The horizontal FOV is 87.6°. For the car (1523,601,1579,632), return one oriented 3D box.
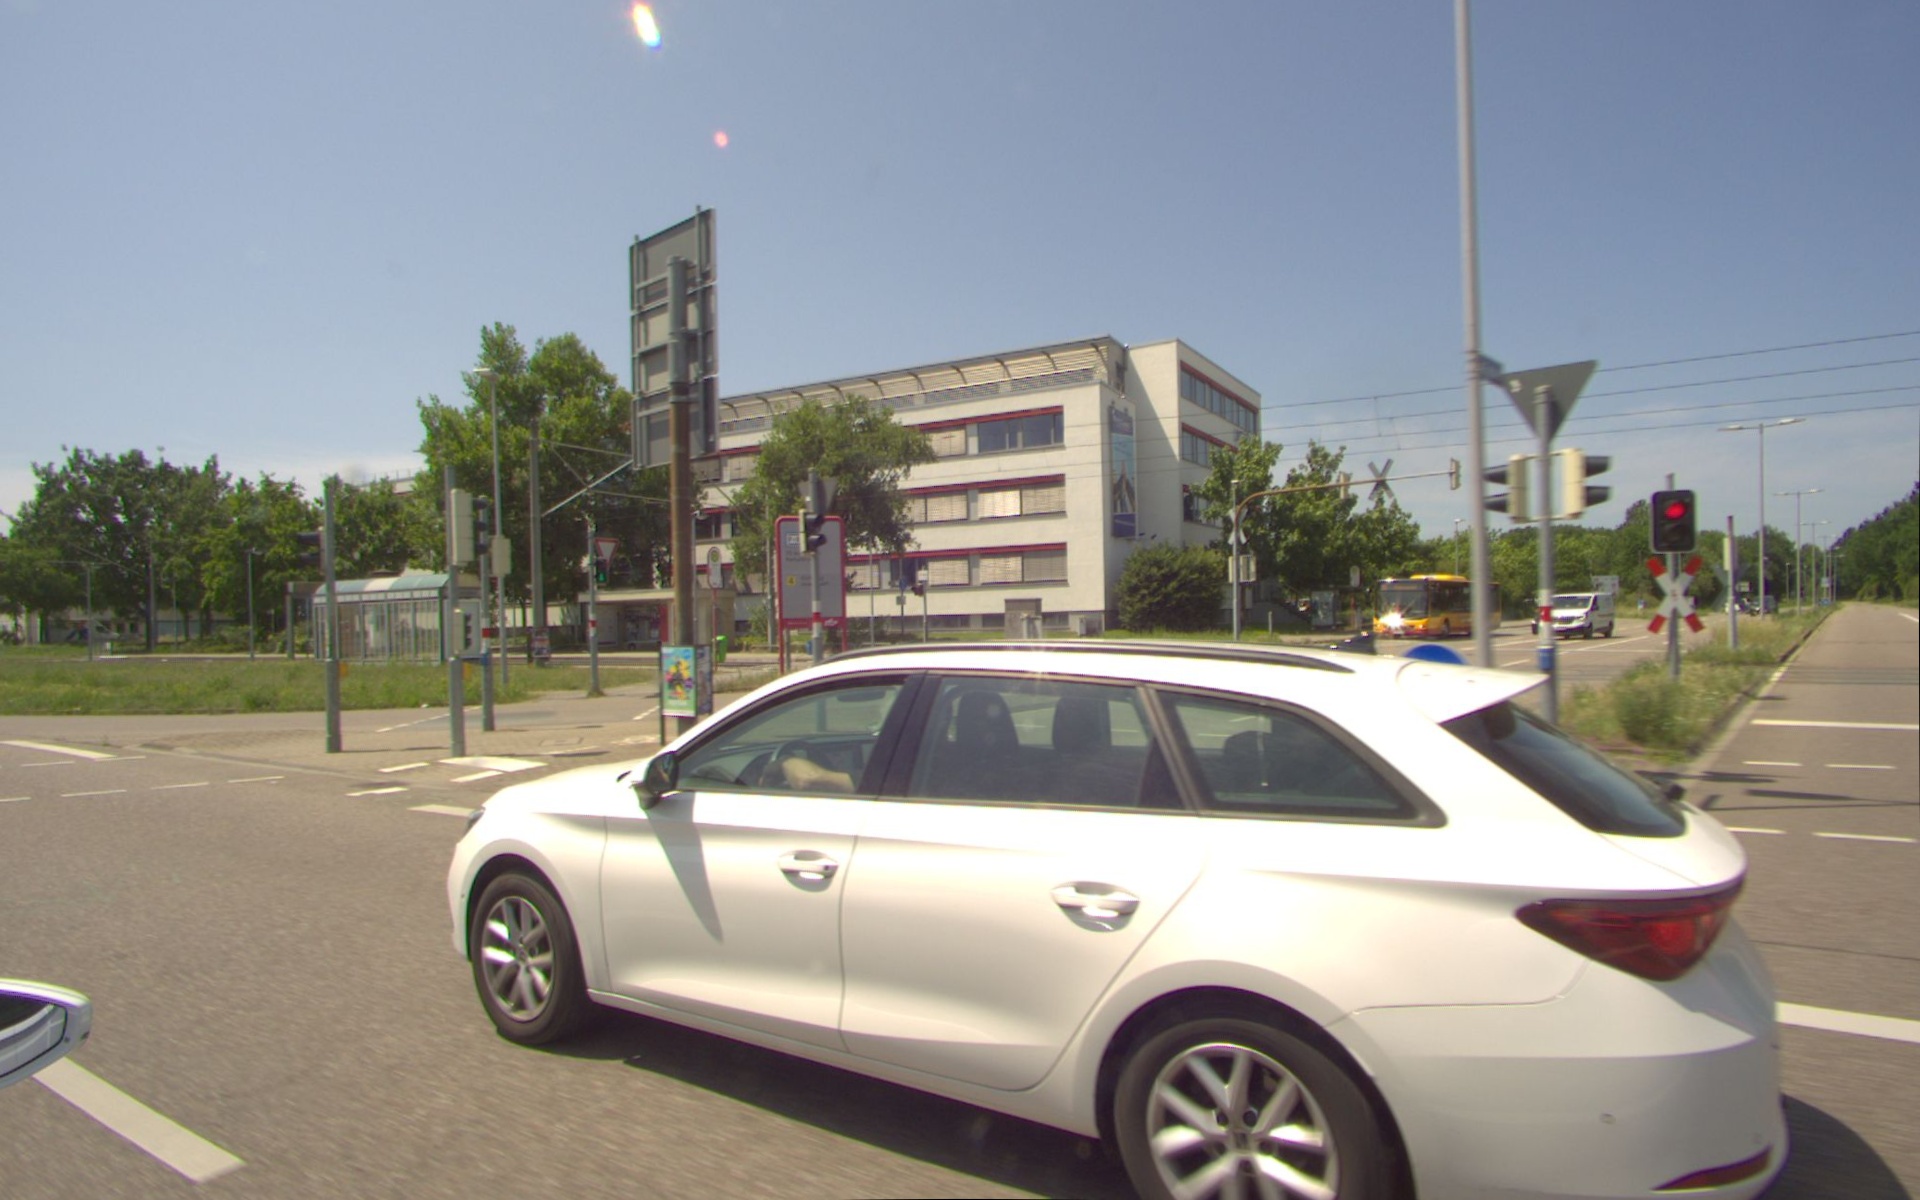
[{"bbox_3d":[31.073,0.873,52.607,1.657,1.600,3.964,-1,-1,43],"label":"car"}]

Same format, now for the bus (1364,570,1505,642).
[{"bbox_3d":[23.769,0.367,49.627,2.810,3.159,11.974,-3,-3,43],"label":"bus"}]

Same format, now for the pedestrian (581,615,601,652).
[{"bbox_3d":[-16.564,1.502,44.976,0.681,1.628,0.550,-2,-2,35],"label":"pedestrian"}]

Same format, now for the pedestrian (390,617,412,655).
[{"bbox_3d":[-27.974,1.796,50.116,0.699,1.865,0.695,-1,-2,19],"label":"pedestrian"}]

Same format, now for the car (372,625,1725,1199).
[{"bbox_3d":[-0.096,0.827,3.626,4.387,1.407,1.679,-2,-1,32],"label":"car"}]

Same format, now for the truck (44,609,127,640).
[{"bbox_3d":[-88.641,2.462,101.541,2.284,2.881,5.836,-2,0,26],"label":"truck"}]

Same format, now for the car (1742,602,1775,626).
[{"bbox_3d":[61.968,1.111,77.721,1.976,1.812,3.970,-1,-1,39],"label":"car"}]

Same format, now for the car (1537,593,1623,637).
[{"bbox_3d":[27.011,0.698,43.563,5.020,1.750,1.812,1,-3,-42],"label":"car"}]
